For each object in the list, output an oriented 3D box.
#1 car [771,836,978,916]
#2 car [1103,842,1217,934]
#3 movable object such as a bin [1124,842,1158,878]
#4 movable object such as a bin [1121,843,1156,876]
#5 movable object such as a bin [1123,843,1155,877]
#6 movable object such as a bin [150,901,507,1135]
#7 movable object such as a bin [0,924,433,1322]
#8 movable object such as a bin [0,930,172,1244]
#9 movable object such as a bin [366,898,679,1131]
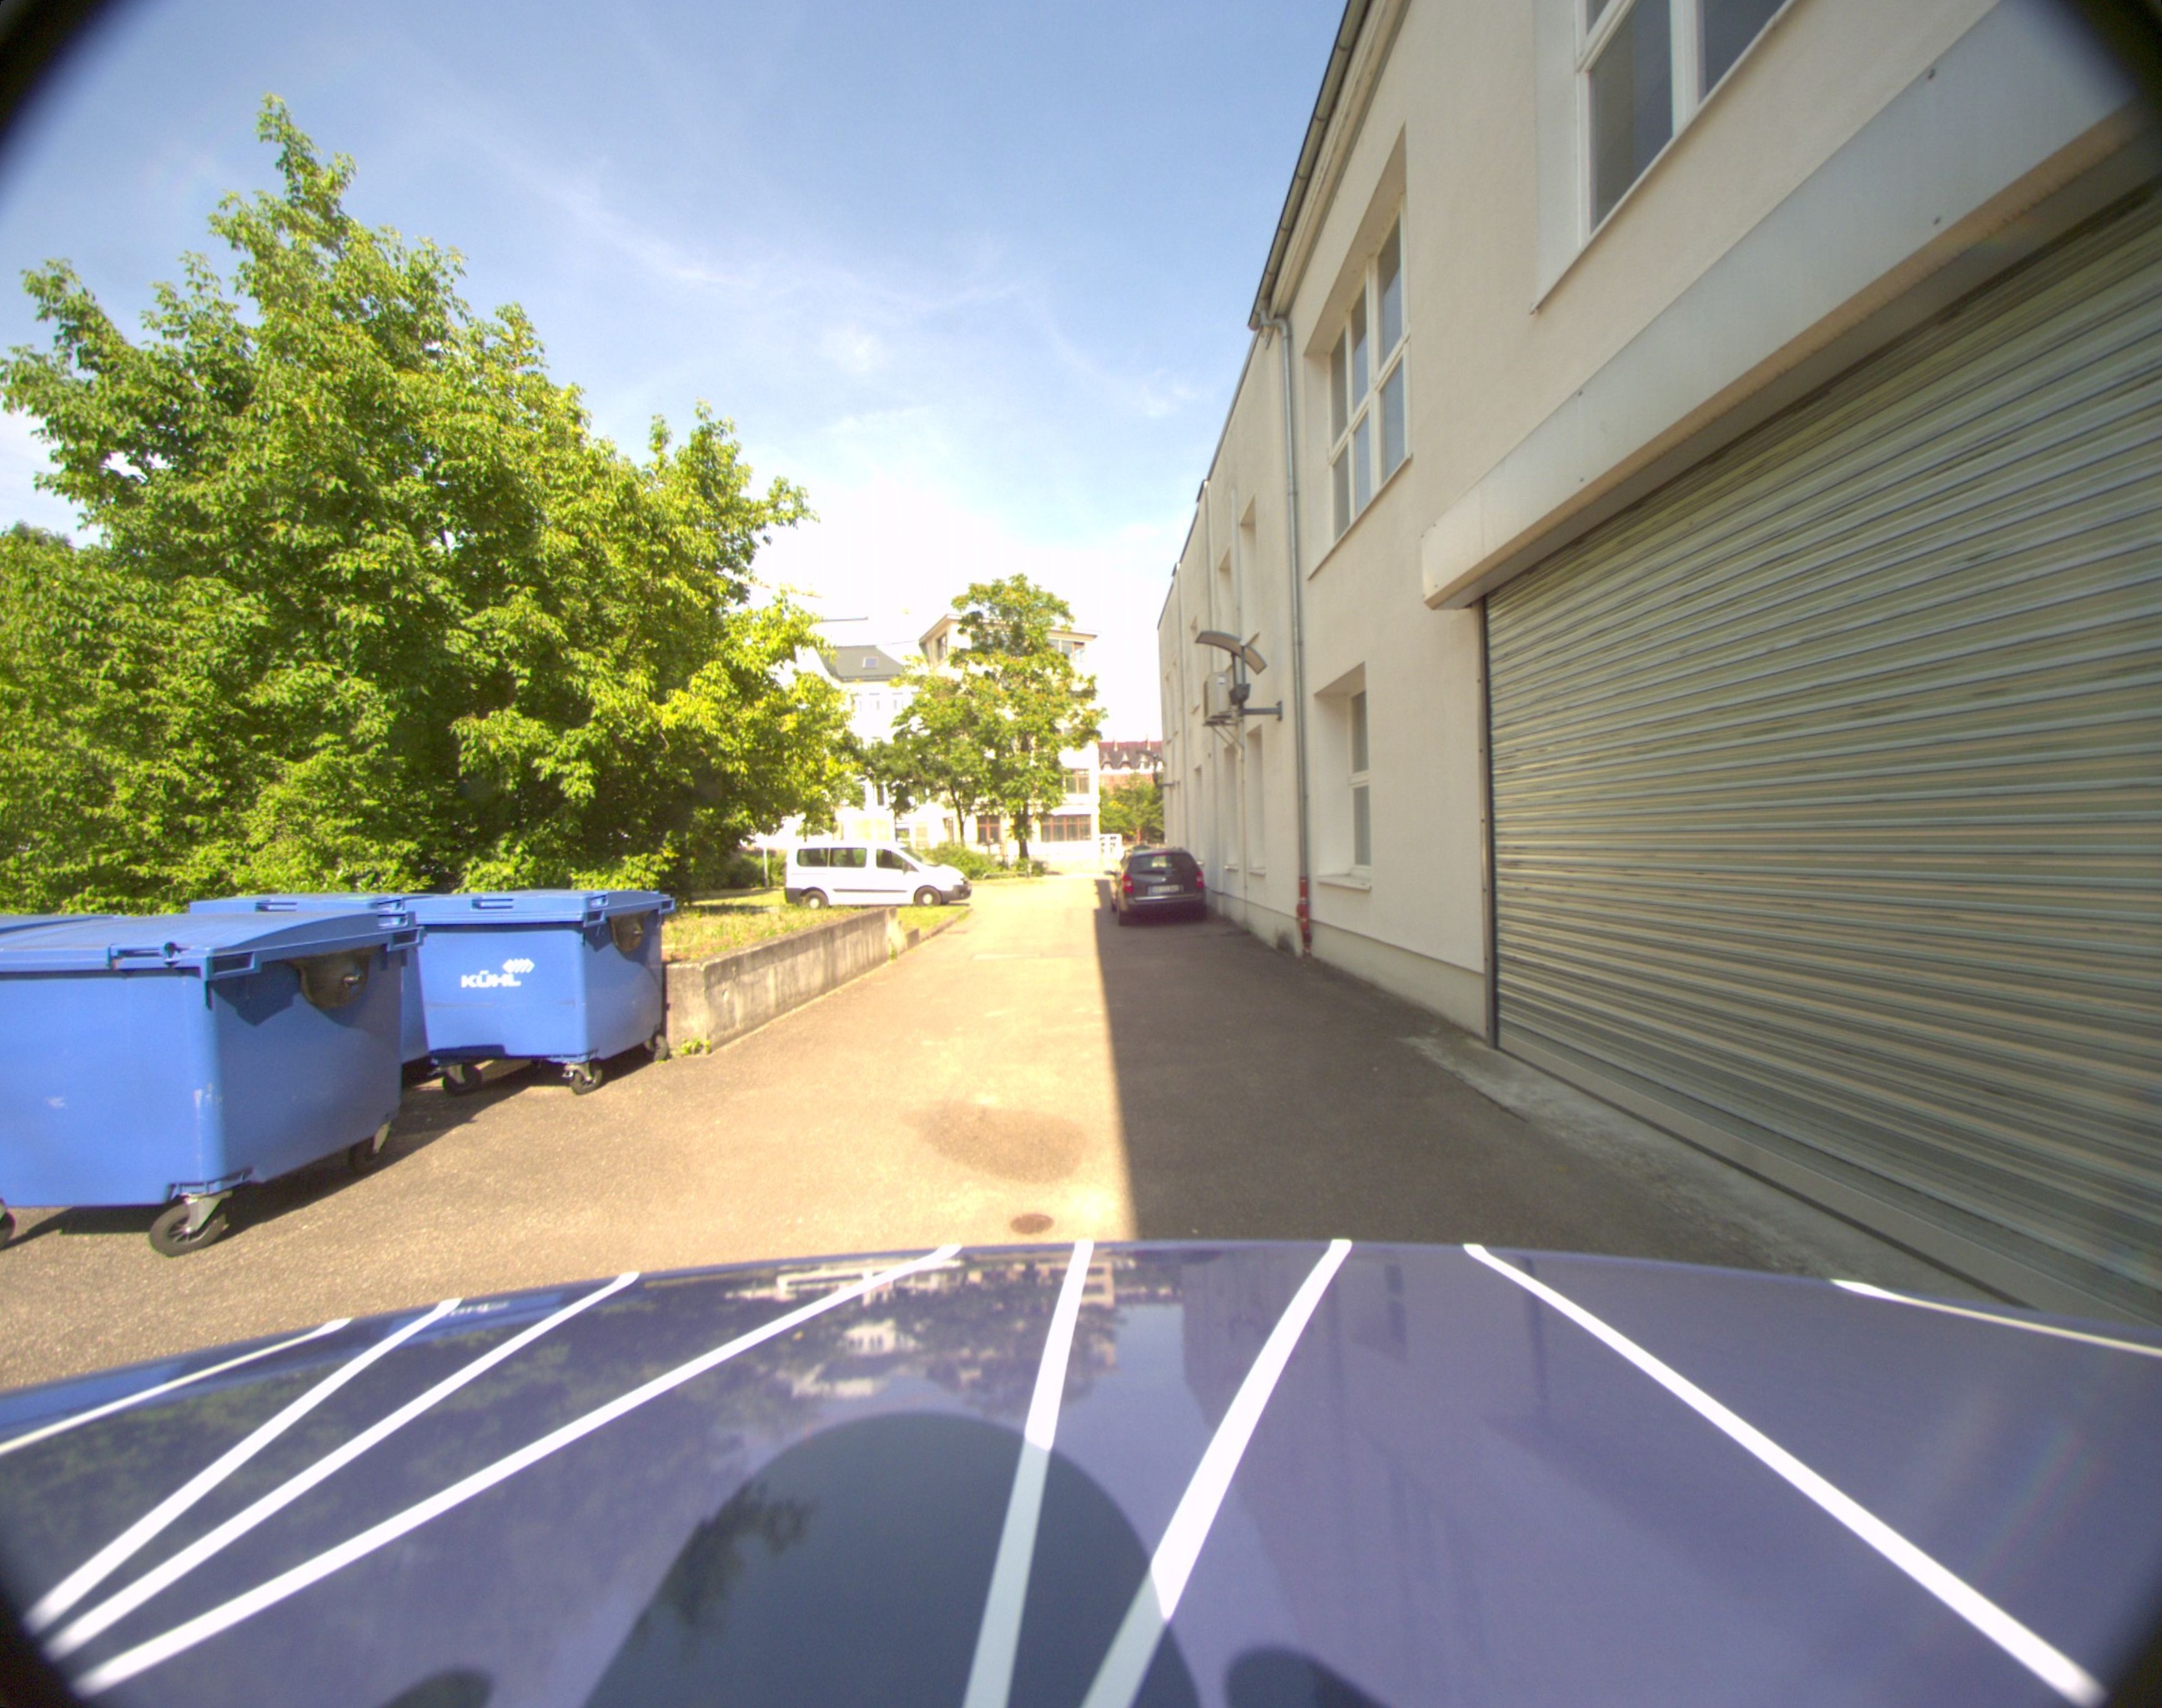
[{"bbox_3d":[-5.525,0.569,20.801,5.036,1.922,2.000,-2,1,2],"label":"car"},{"bbox_3d":[1.519,0.590,16.155,1.841,1.434,4.427,-4,3,0],"label":"car"},{"bbox_3d":[2.481,0.248,31.665,1.247,1.423,1.350,-2,1,0],"label":"movable object such as a bin"},{"bbox_3d":[2.612,0.224,34.563,1.248,1.423,1.222,-2,1,-11],"label":"movable object such as a bin"},{"bbox_3d":[2.535,0.232,33.176,1.247,1.423,1.365,-2,1,0],"label":"movable object such as a bin"},{"bbox_3d":[-5.025,1.046,5.207,1.250,1.333,1.142,-1,1,3],"label":"movable object such as a bin"},{"bbox_3d":[-4.019,1.061,3.376,1.250,1.347,1.128,-1,1,-3],"label":"movable object such as a bin"},{"bbox_3d":[-5.430,1.092,3.444,1.158,1.329,1.142,-1,1,-3],"label":"movable object such as a bin"},{"bbox_3d":[-3.711,1.015,5.214,1.250,1.312,1.142,0,3,2],"label":"movable object such as a bin"}]
